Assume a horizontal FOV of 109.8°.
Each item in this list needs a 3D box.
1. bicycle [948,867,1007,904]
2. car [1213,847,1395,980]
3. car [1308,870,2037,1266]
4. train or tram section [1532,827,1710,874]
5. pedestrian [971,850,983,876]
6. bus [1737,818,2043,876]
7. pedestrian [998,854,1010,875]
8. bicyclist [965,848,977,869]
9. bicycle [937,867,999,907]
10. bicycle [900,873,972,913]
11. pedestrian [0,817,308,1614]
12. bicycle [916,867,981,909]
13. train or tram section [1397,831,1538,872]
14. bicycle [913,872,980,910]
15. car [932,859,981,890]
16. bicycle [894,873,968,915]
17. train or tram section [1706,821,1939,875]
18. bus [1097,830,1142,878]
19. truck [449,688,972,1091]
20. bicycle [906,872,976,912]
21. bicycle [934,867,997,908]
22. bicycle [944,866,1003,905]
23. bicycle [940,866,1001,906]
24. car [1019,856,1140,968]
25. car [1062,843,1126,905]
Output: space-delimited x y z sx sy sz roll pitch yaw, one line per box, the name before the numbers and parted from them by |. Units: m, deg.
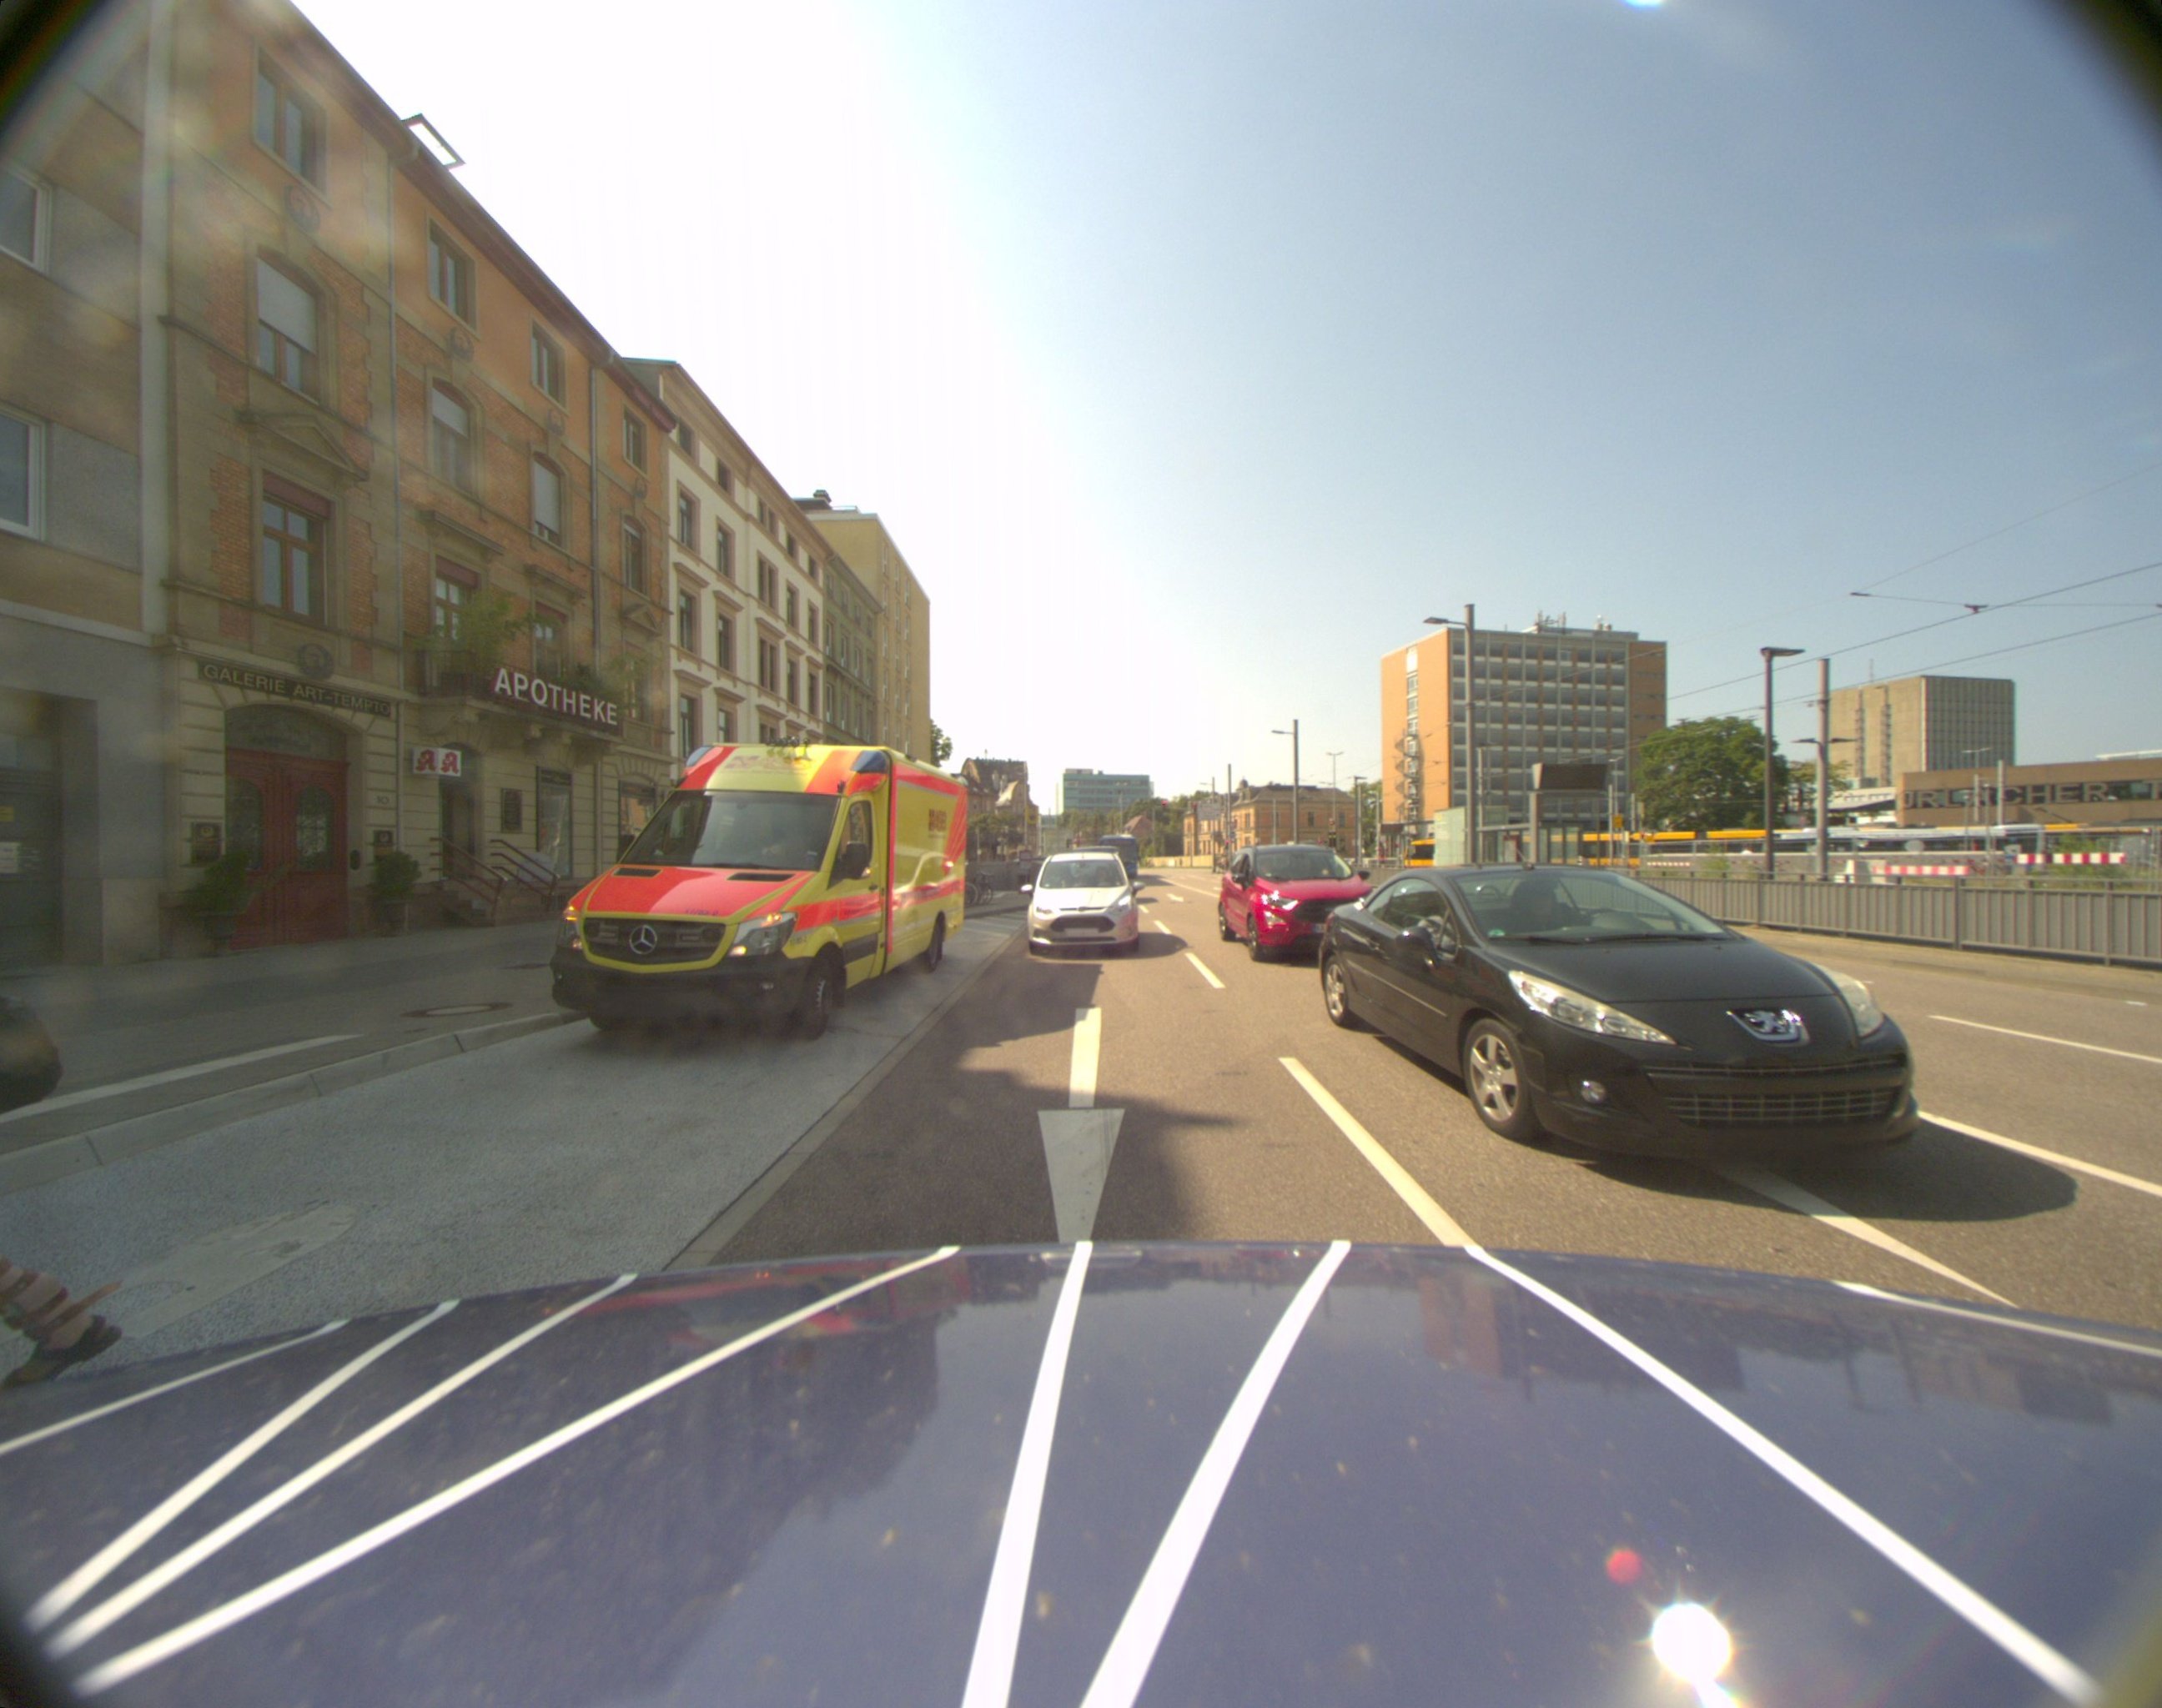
bicycle | -3.462 1.053 25.556 1.841 1.196 0.637 -2 0 1
car | 3.116 0.735 11.423 1.634 1.611 3.968 -2 0 2
car | 2.869 0.873 4.853 1.692 1.405 3.801 -2 0 0
train or tram section | 46.222 -0.292 65.644 12.332 3.743 2.004 0 0 45
pedestrian | -6.430 0.559 46.912 0.645 1.619 0.796 1 0 -1
bus | 52.136 -0.346 49.930 13.371 3.275 3.357 -2 0 45
pedestrian | -6.003 0.779 58.970 0.644 1.619 0.798 1 0 19
bicyclist | -8.573 0.367 59.080 0.721 1.577 1.103 -1 0 2
bicycle | -3.561 1.025 24.017 1.841 1.196 0.434 -2 0 1
bicycle | -4.019 1.082 21.204 1.841 1.047 0.657 -2 0 1
pedestrian | -2.826 0.783 1.654 0.965 1.731 1.240 3 1 12
bicycle | -4.037 1.042 23.181 1.841 1.196 0.549 -2 0 1
train or tram section | 37.471 -0.244 74.342 12.332 3.743 2.004 0 0 45
bicycle | -3.982 1.097 22.562 1.841 1.050 0.657 -2 0 1
car | -6.269 1.008 38.645 1.666 1.418 3.934 2 0 2
bicycle | -4.032 1.079 20.506 1.841 1.054 0.657 -2 0 1
train or tram section | 54.948 -0.383 56.968 12.332 3.743 2.004 0 0 45
bus | 2.775 -0.032 57.524 2.919 3.119 12.345 -2 0 1
truck | -3.083 0.223 8.491 2.333 2.754 6.340 2 0 4
bicycle | -4.011 1.093 21.871 1.841 1.054 0.657 -2 0 1
bicycle | -3.585 1.031 23.581 1.841 1.196 0.434 -2 0 1
bicycle | -3.523 1.028 24.957 1.841 1.196 0.434 -2 0 1
bicycle | -3.550 1.020 24.478 1.841 1.212 0.434 -2 0 1
car | 0.014 0.851 13.049 1.728 1.579 4.000 -1 0 1
car | 0.463 0.629 26.657 1.998 1.953 4.816 -2 0 1
